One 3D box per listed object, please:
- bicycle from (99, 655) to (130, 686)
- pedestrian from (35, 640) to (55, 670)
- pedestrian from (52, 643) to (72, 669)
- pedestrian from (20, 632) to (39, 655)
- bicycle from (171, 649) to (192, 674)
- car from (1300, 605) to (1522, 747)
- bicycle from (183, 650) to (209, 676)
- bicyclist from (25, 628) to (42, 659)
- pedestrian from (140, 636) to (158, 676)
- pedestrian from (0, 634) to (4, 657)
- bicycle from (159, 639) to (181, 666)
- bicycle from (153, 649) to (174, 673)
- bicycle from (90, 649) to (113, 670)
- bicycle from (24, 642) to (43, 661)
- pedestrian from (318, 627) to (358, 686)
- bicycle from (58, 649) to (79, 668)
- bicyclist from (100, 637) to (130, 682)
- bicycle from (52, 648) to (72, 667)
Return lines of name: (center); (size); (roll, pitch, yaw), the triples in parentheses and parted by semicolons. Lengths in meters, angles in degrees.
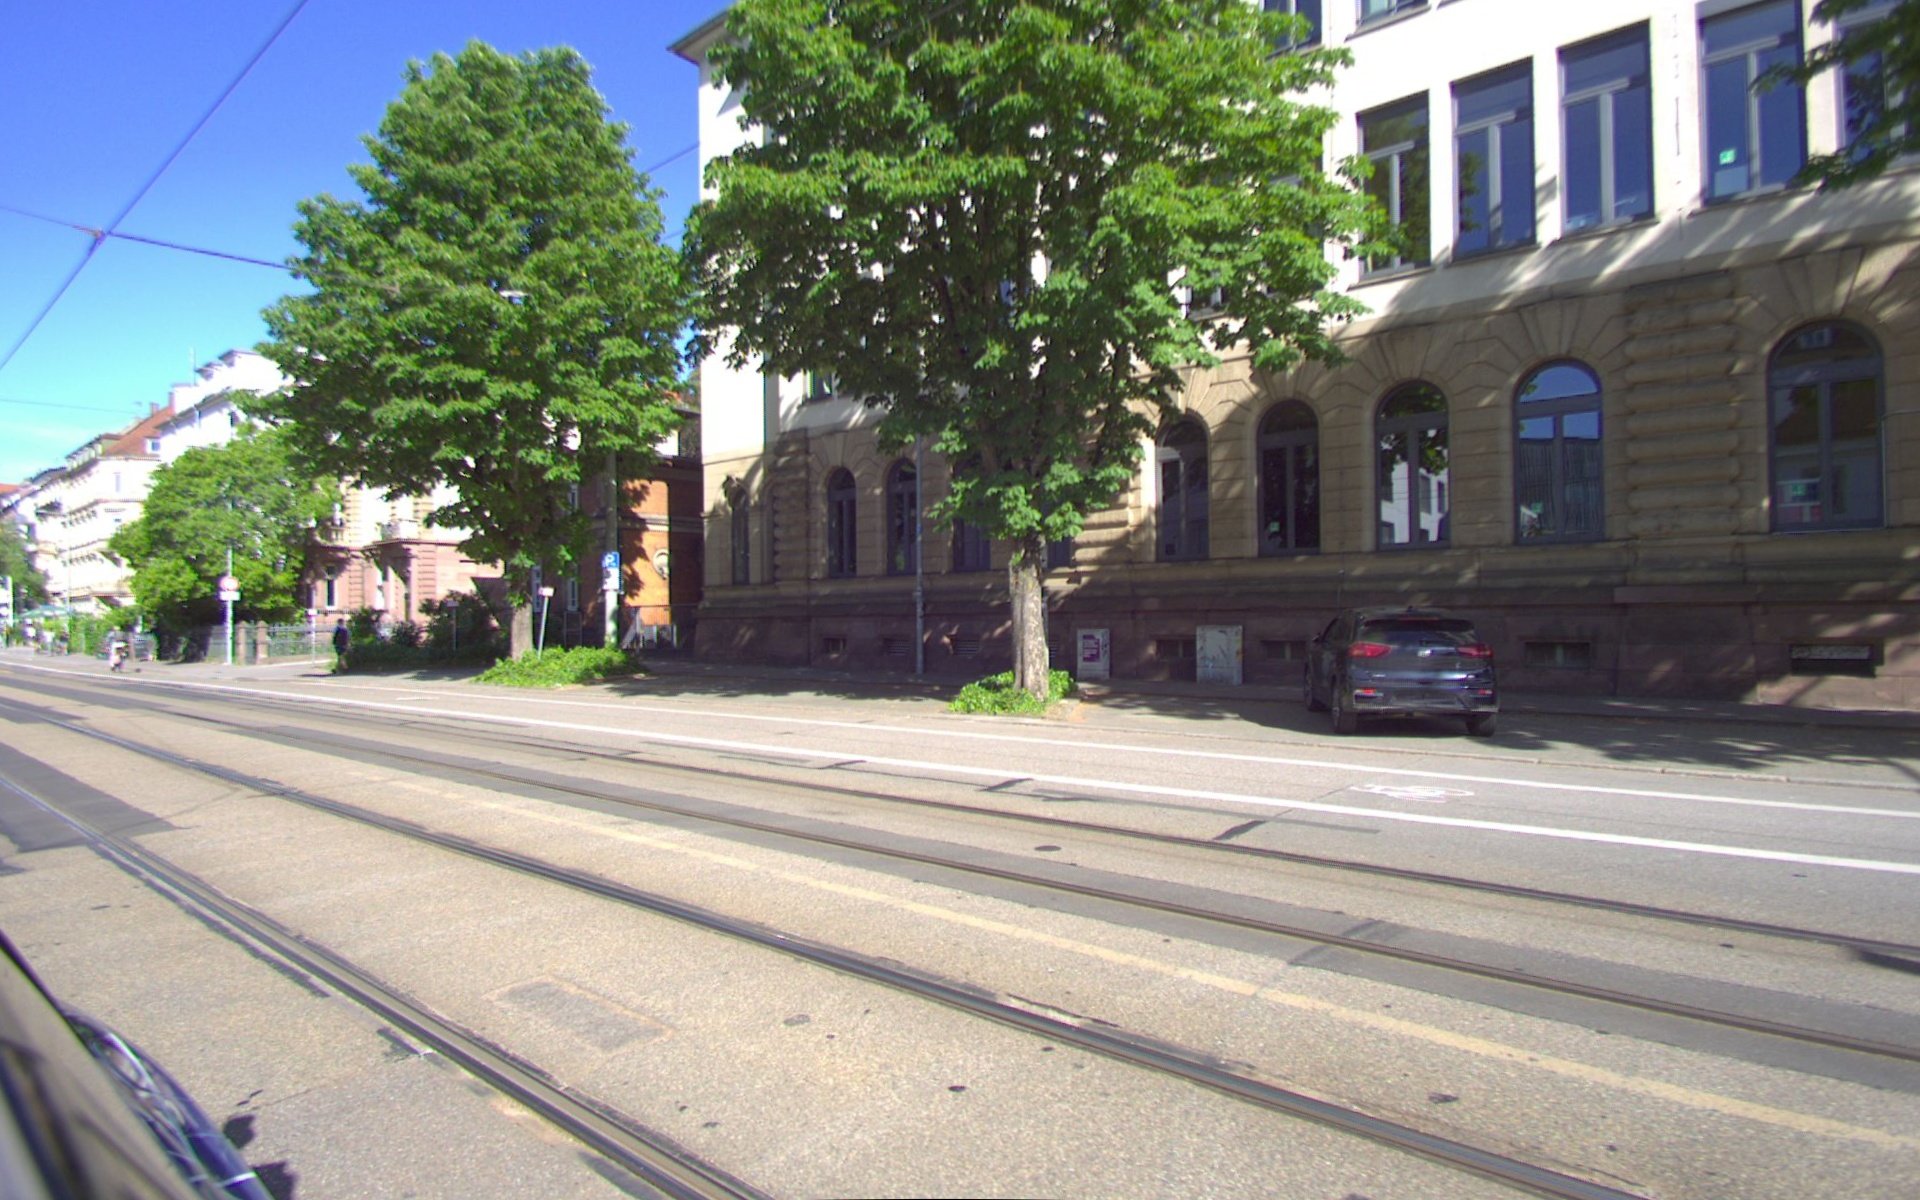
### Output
bicycle: (-32.115, 2.659, 38.439); (1.932, 1.133, 0.679); (-2, -4, 44)
pedestrian: (-53.838, 3.240, 59.531); (0.808, 1.727, 0.747); (-2, 0, 40)
pedestrian: (-53.360, 3.329, 60.120); (0.956, 1.489, 0.747); (-2, 0, 40)
pedestrian: (-72.147, 3.387, 78.491); (0.683, 1.781, 0.867); (0, -2, -7)
bicycle: (-34.732, 2.741, 45.130); (0.582, 1.053, 1.907); (-1, -1, -42)
car: (5.742, 0.870, 13.413); (1.858, 1.562, 3.984); (-1, 0, 12)
bicycle: (-32.958, 2.699, 43.643); (1.905, 1.053, 0.583); (-2, 0, 43)
bicyclist: (-56.731, 2.663, 61.974); (0.695, 1.868, 0.988); (1, -1, -37)
pedestrian: (-37.892, 2.605, 47.287); (0.567, 1.845, 0.691); (0, -1, -31)
pedestrian: (-75.491, 3.542, 79.455); (0.538, 1.795, 0.552); (-2, -2, 37)
bicycle: (-36.457, 2.411, 46.700); (0.638, 1.152, 1.907); (-2, 0, -42)
bicycle: (-37.504, 2.853, 47.671); (0.628, 1.053, 2.027); (0, -1, -33)
bicycle: (-46.165, 3.201, 54.416); (1.742, 1.067, 0.632); (-2, 1, 41)
bicycle: (-56.728, 3.147, 61.964); (0.695, 1.063, 1.839); (1, -1, -37)
pedestrian: (-19.773, 1.784, 32.179); (0.777, 1.810, 0.724); (-2, 1, 29)
bicycle: (-54.386, 3.562, 61.739); (1.839, 1.097, 0.655); (-1, 2, 41)
bicyclist: (-32.125, 2.250, 38.473); (1.238, 1.657, 0.679); (-2, -4, 44)
bicycle: (-55.968, 3.567, 63.057); (1.839, 1.097, 0.655); (-1, 2, 41)
